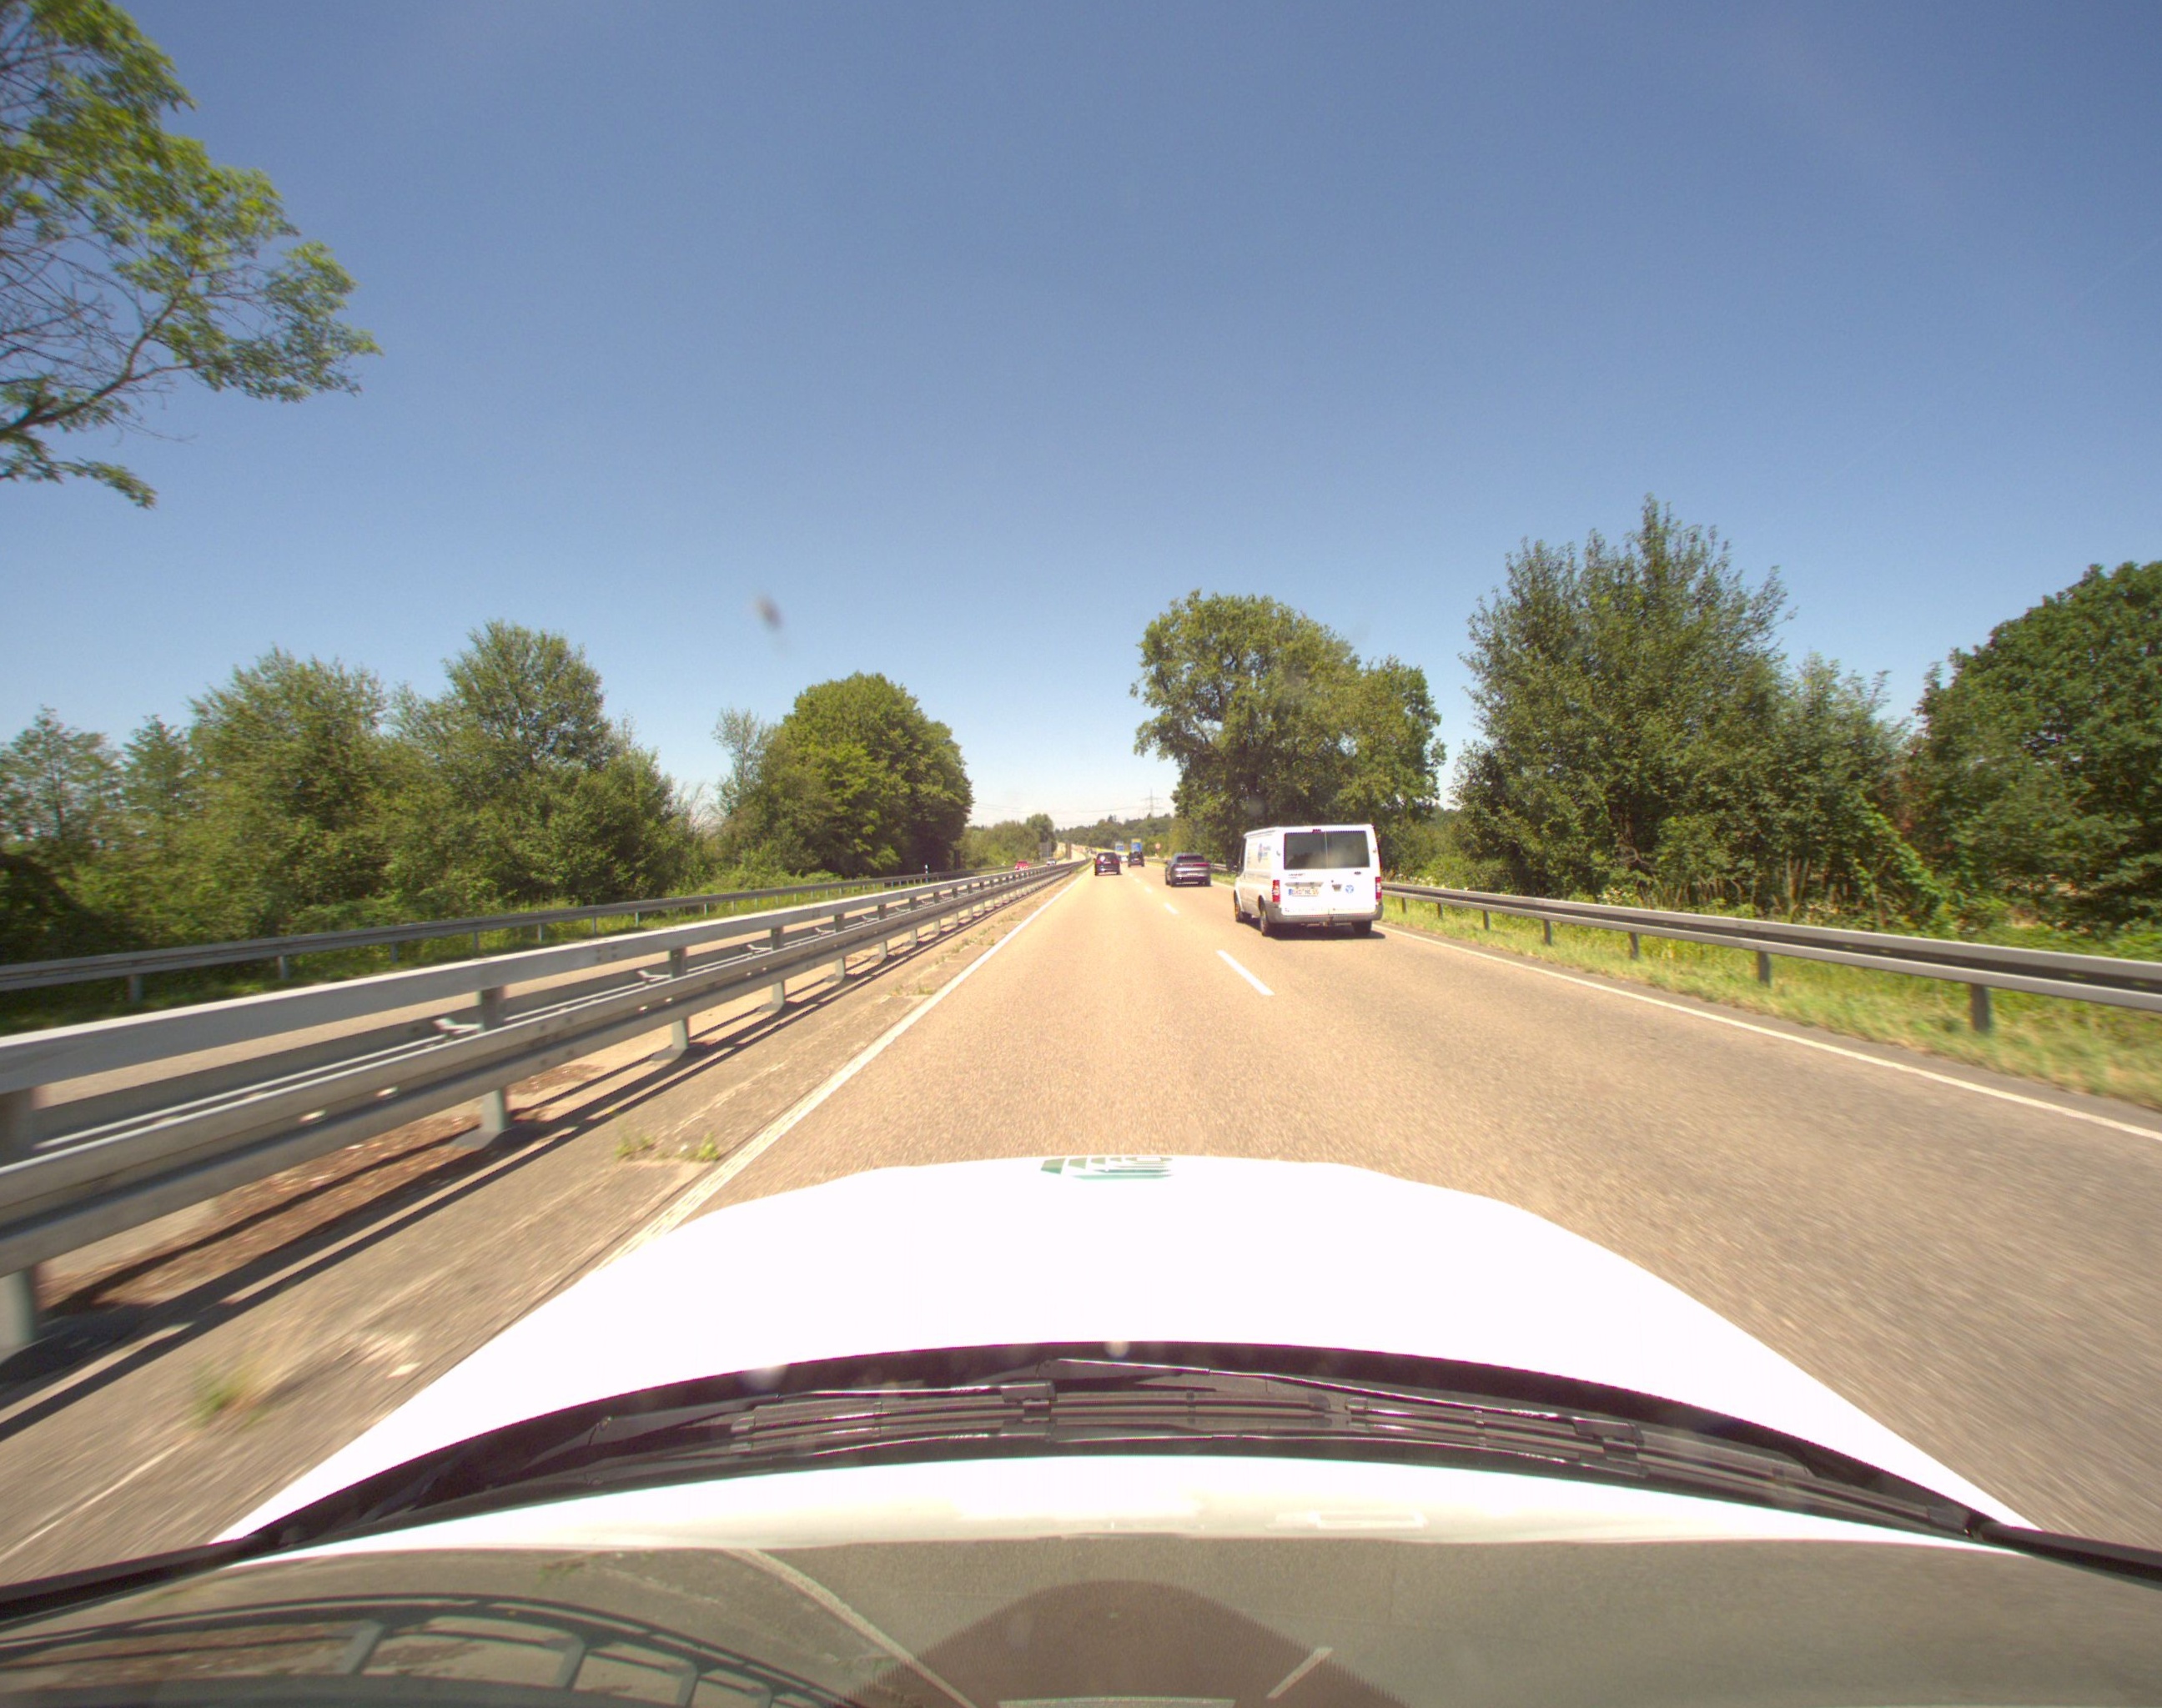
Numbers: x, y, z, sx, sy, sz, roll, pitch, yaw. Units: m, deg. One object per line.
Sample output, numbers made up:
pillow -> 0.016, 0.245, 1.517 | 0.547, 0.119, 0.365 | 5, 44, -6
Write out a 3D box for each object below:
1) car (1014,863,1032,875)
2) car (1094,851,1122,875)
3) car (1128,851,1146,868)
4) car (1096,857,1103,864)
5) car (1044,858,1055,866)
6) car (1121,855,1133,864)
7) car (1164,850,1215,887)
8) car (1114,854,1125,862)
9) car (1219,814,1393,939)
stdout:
car -> -7.304, 1.840, 102.501 | 1.769, 1.419, 4.576 | -3, -1, 1
car -> 1.987, 0.663, 61.071 | 1.987, 1.654, 3.999 | -1, 0, 0
car -> 6.288, 0.576, 92.441 | 1.773, 1.817, 4.214 | -3, 0, 1
car -> 4.085, 1.441, 177.588 | 1.510, 1.475, 3.065 | 0, 0, 0
car -> -6.011, 1.608, 157.564 | 1.790, 1.468, 3.775 | -1, 0, 2
car -> 7.786, 1.004, 138.756 | 1.773, 1.479, 4.314 | -1, 0, 0
car -> 4.949, 0.629, 37.612 | 1.779, 1.553, 4.019 | -2, 0, 0
car -> 7.178, 0.791, 152.072 | 1.813, 1.414, 4.001 | -3, 0, 1
car -> 4.225, 0.408, 16.245 | 1.999, 1.989, 5.034 | -3, -1, 0
